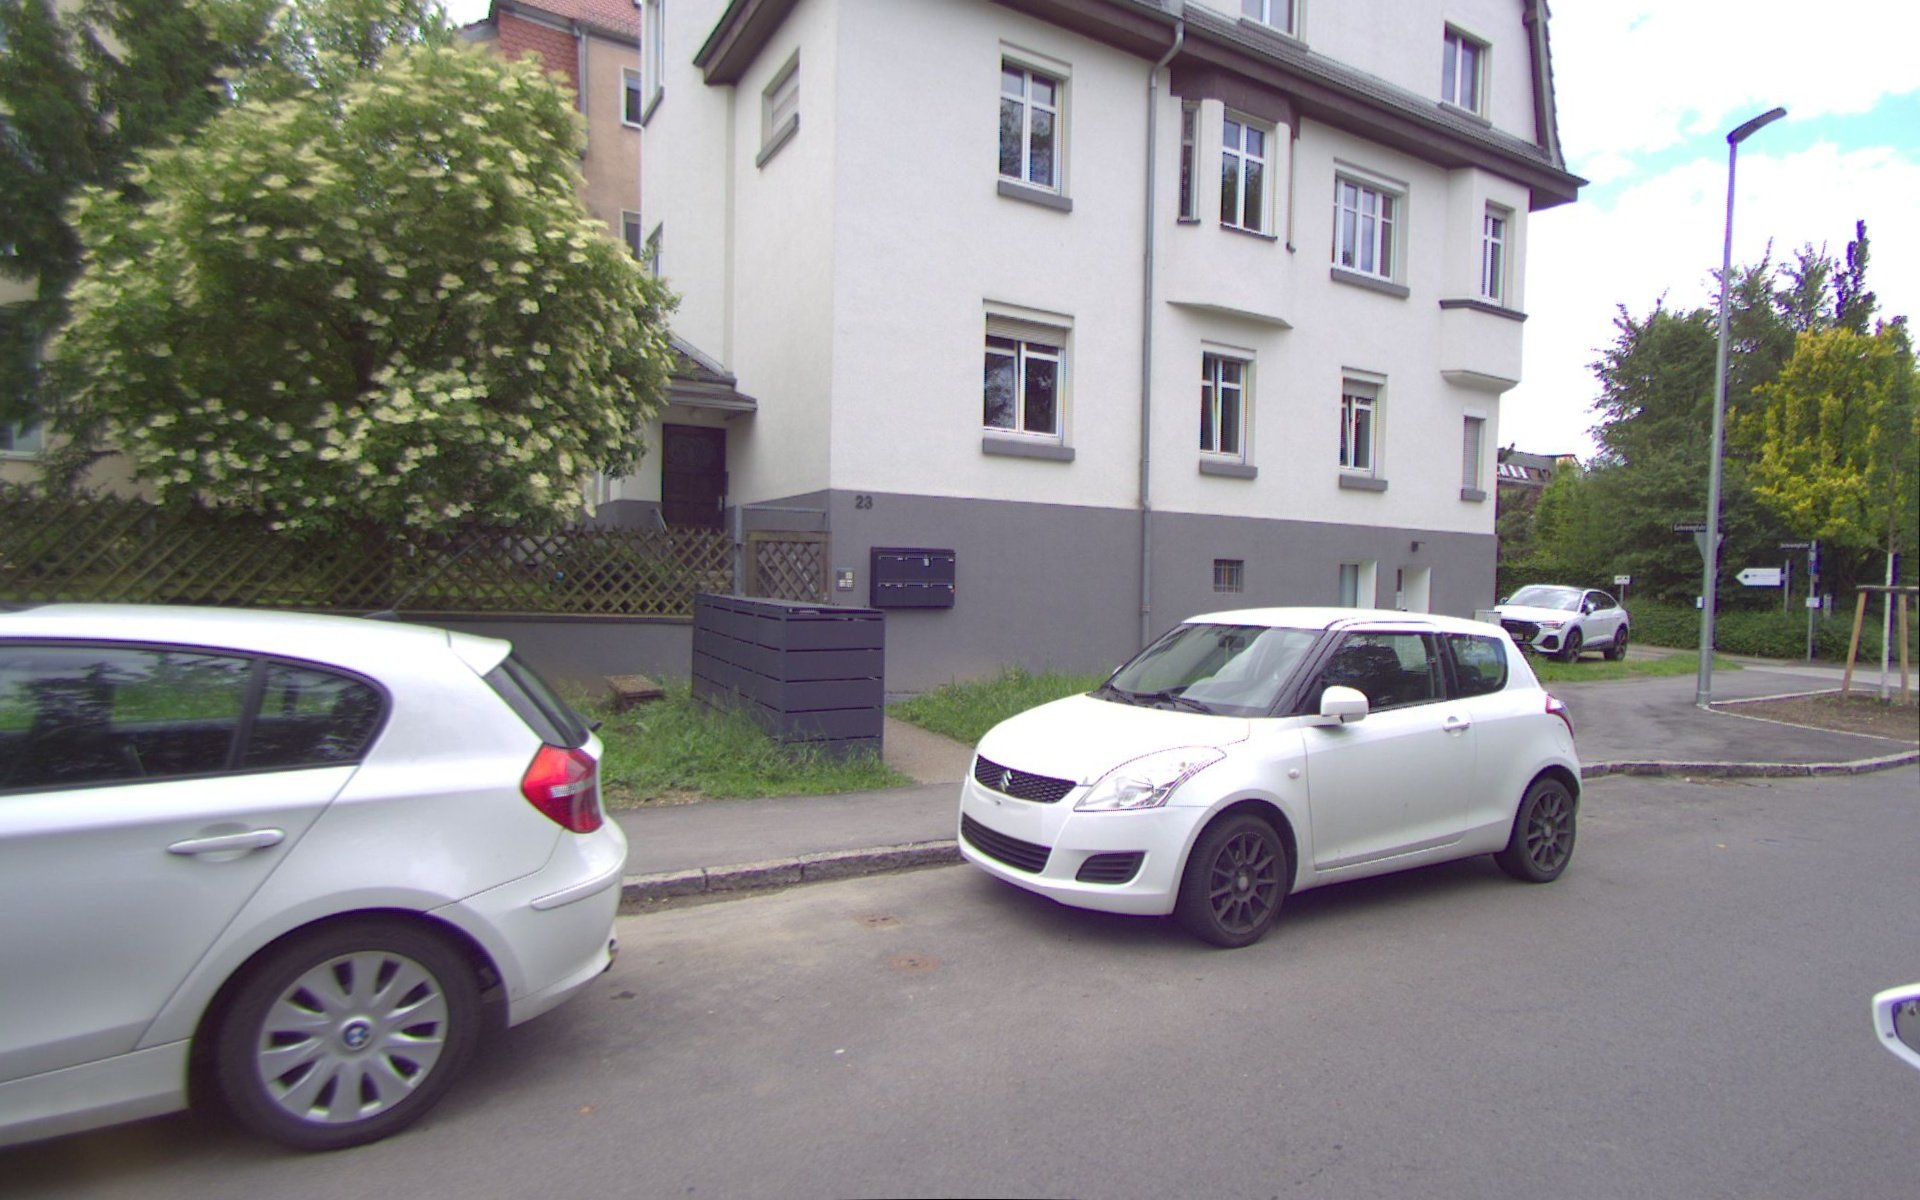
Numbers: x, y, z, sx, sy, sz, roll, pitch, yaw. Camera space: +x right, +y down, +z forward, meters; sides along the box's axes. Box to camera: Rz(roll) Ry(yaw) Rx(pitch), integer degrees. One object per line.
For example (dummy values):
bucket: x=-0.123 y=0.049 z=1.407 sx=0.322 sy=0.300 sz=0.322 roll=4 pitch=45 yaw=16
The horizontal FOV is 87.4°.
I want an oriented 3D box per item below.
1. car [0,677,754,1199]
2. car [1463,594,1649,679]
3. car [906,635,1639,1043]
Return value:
car: x=-3.081 y=0.995 z=2.679 sx=4.671 sy=1.408 sz=1.716 roll=1 pitch=-1 yaw=-30
car: x=12.927 y=0.716 z=21.695 sx=4.556 sy=1.553 sz=1.890 roll=0 pitch=4 yaw=-38
car: x=1.851 y=0.963 z=5.556 sx=4.024 sy=1.489 sz=1.634 roll=1 pitch=-1 yaw=-31
